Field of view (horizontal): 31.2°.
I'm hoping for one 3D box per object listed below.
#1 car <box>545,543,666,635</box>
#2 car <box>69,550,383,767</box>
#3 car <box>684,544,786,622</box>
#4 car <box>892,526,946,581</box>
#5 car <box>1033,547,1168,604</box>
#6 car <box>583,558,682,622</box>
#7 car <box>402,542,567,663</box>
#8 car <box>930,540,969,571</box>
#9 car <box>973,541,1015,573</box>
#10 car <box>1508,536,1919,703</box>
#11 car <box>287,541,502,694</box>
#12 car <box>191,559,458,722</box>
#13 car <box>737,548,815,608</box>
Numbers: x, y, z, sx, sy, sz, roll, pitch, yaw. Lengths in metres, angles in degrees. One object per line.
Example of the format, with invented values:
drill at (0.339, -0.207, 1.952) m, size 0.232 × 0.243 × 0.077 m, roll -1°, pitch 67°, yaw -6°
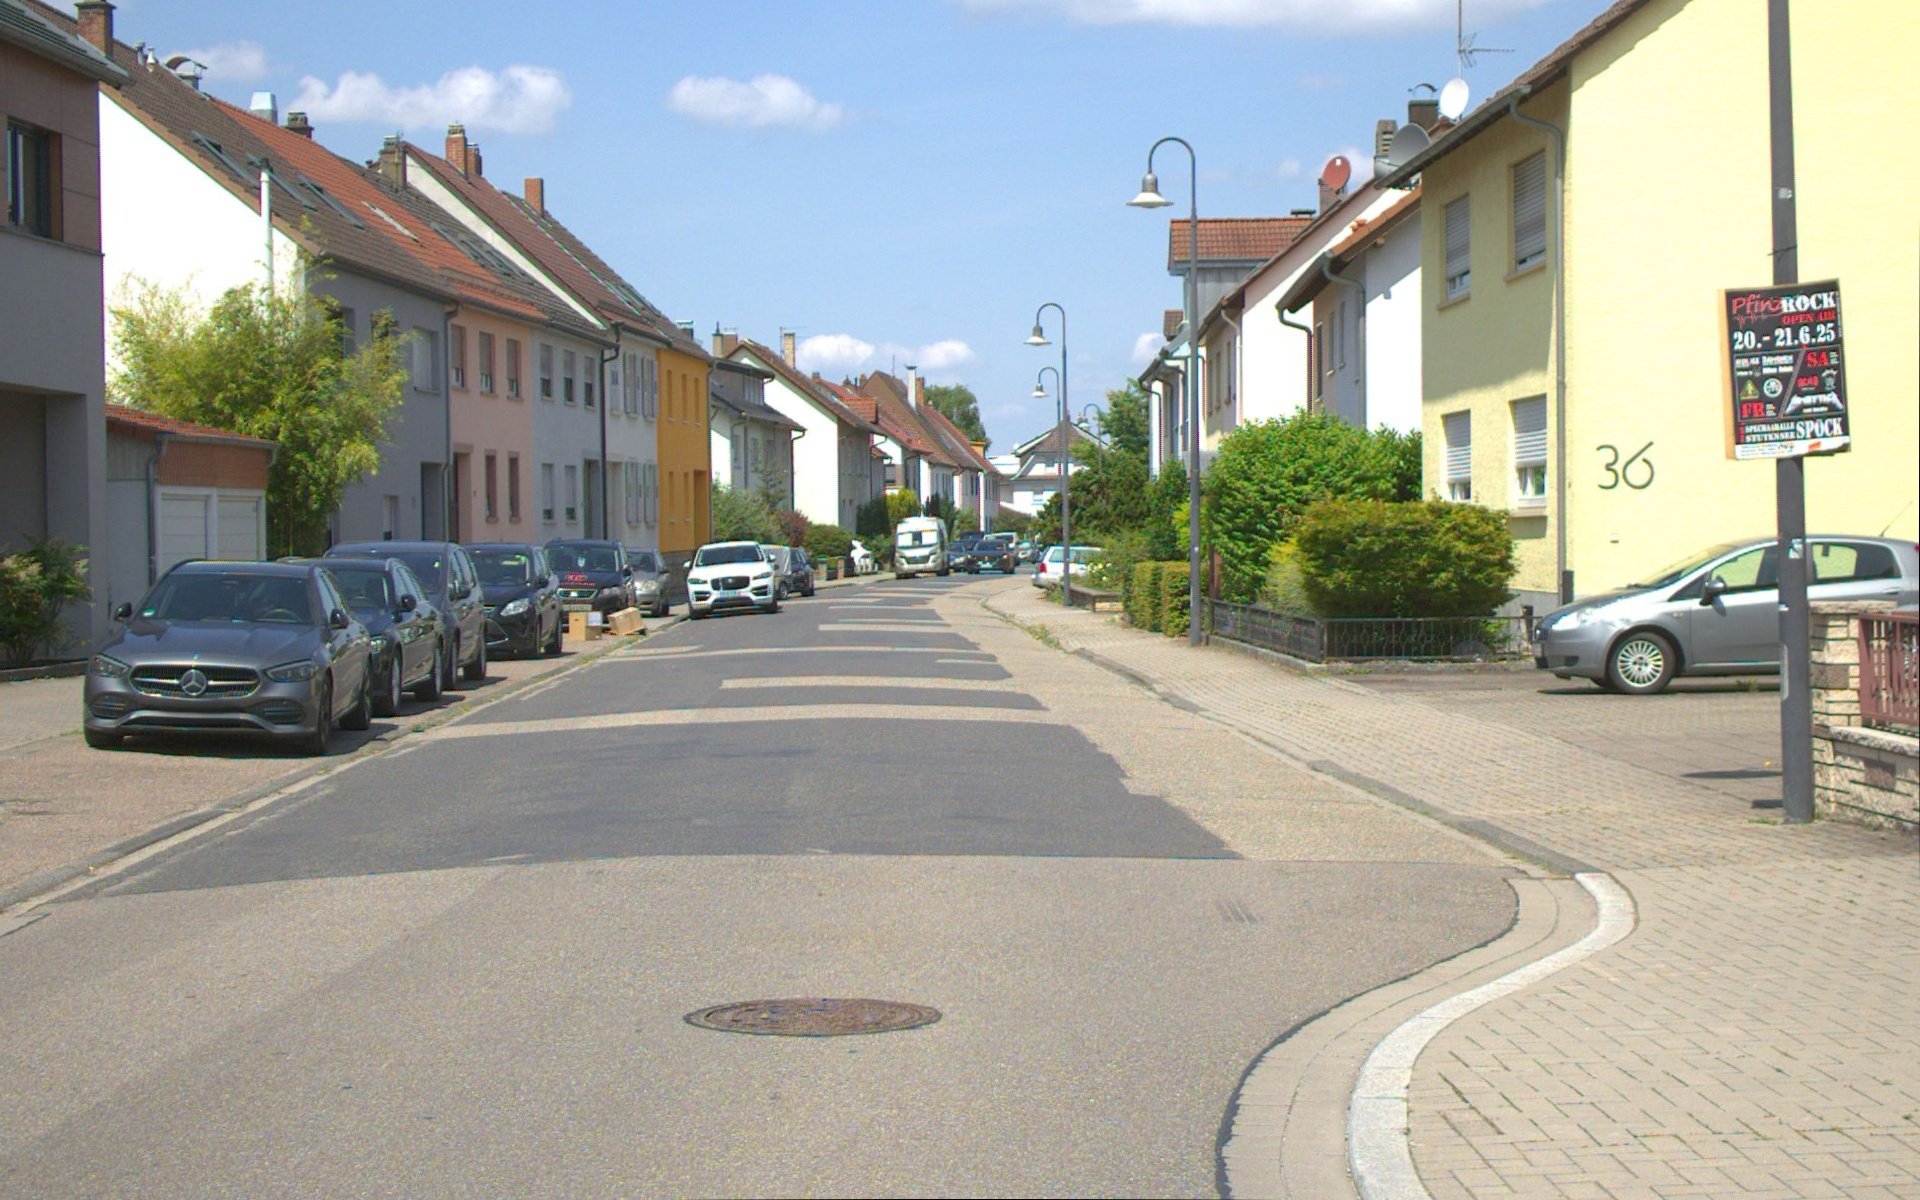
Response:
car at (-6.510, -0.225, 63.532) m, size 1.810 × 1.603 × 4.000 m, roll 1°, pitch 1°, yaw 0°
car at (-5.832, 0.413, 27.771) m, size 1.816 × 1.428 × 4.140 m, roll 3°, pitch 2°, yaw -3°
car at (-4.997, -0.394, 76.694) m, size 1.850 × 1.653 × 4.000 m, roll 2°, pitch 1°, yaw 2°
car at (-1.741, -1.966, 146.657) m, size 2.045 × 2.304 × 3.771 m, roll 1°, pitch 0°, yaw 3°
car at (3.767, -0.659, 92.587) m, size 3.523 × 1.459 × 1.628 m, roll 1°, pitch 0°, yaw 0°
car at (-7.188, -0.235, 75.702) m, size 1.672 × 1.331 × 3.722 m, roll 2°, pitch 1°, yaw 2°
car at (-6.694, 0.005, 48.749) m, size 1.779 × 1.603 × 4.000 m, roll 1°, pitch 1°, yaw 0°
car at (-0.498, -2.176, 168.624) m, size 1.691 × 1.498 × 3.771 m, roll 1°, pitch 0°, yaw 3°
car at (1.507, -1.869, 150.512) m, size 1.691 × 1.337 × 3.771 m, roll 1°, pitch 0°, yaw 3°
car at (7.316, 0.164, 32.438) m, size 3.987 × 1.468 × 1.746 m, roll -1°, pitch 1°, yaw 0°
car at (-6.363, 0.160, 39.067) m, size 1.779 × 1.603 × 4.000 m, roll 1°, pitch 1°, yaw 0°
car at (-6.091, 0.346, 33.398) m, size 1.816 × 1.429 × 4.139 m, roll 1°, pitch 1°, yaw 0°
car at (-5.249, -0.639, 98.432) m, size 1.850 × 1.653 × 4.000 m, roll 2°, pitch 1°, yaw 2°
